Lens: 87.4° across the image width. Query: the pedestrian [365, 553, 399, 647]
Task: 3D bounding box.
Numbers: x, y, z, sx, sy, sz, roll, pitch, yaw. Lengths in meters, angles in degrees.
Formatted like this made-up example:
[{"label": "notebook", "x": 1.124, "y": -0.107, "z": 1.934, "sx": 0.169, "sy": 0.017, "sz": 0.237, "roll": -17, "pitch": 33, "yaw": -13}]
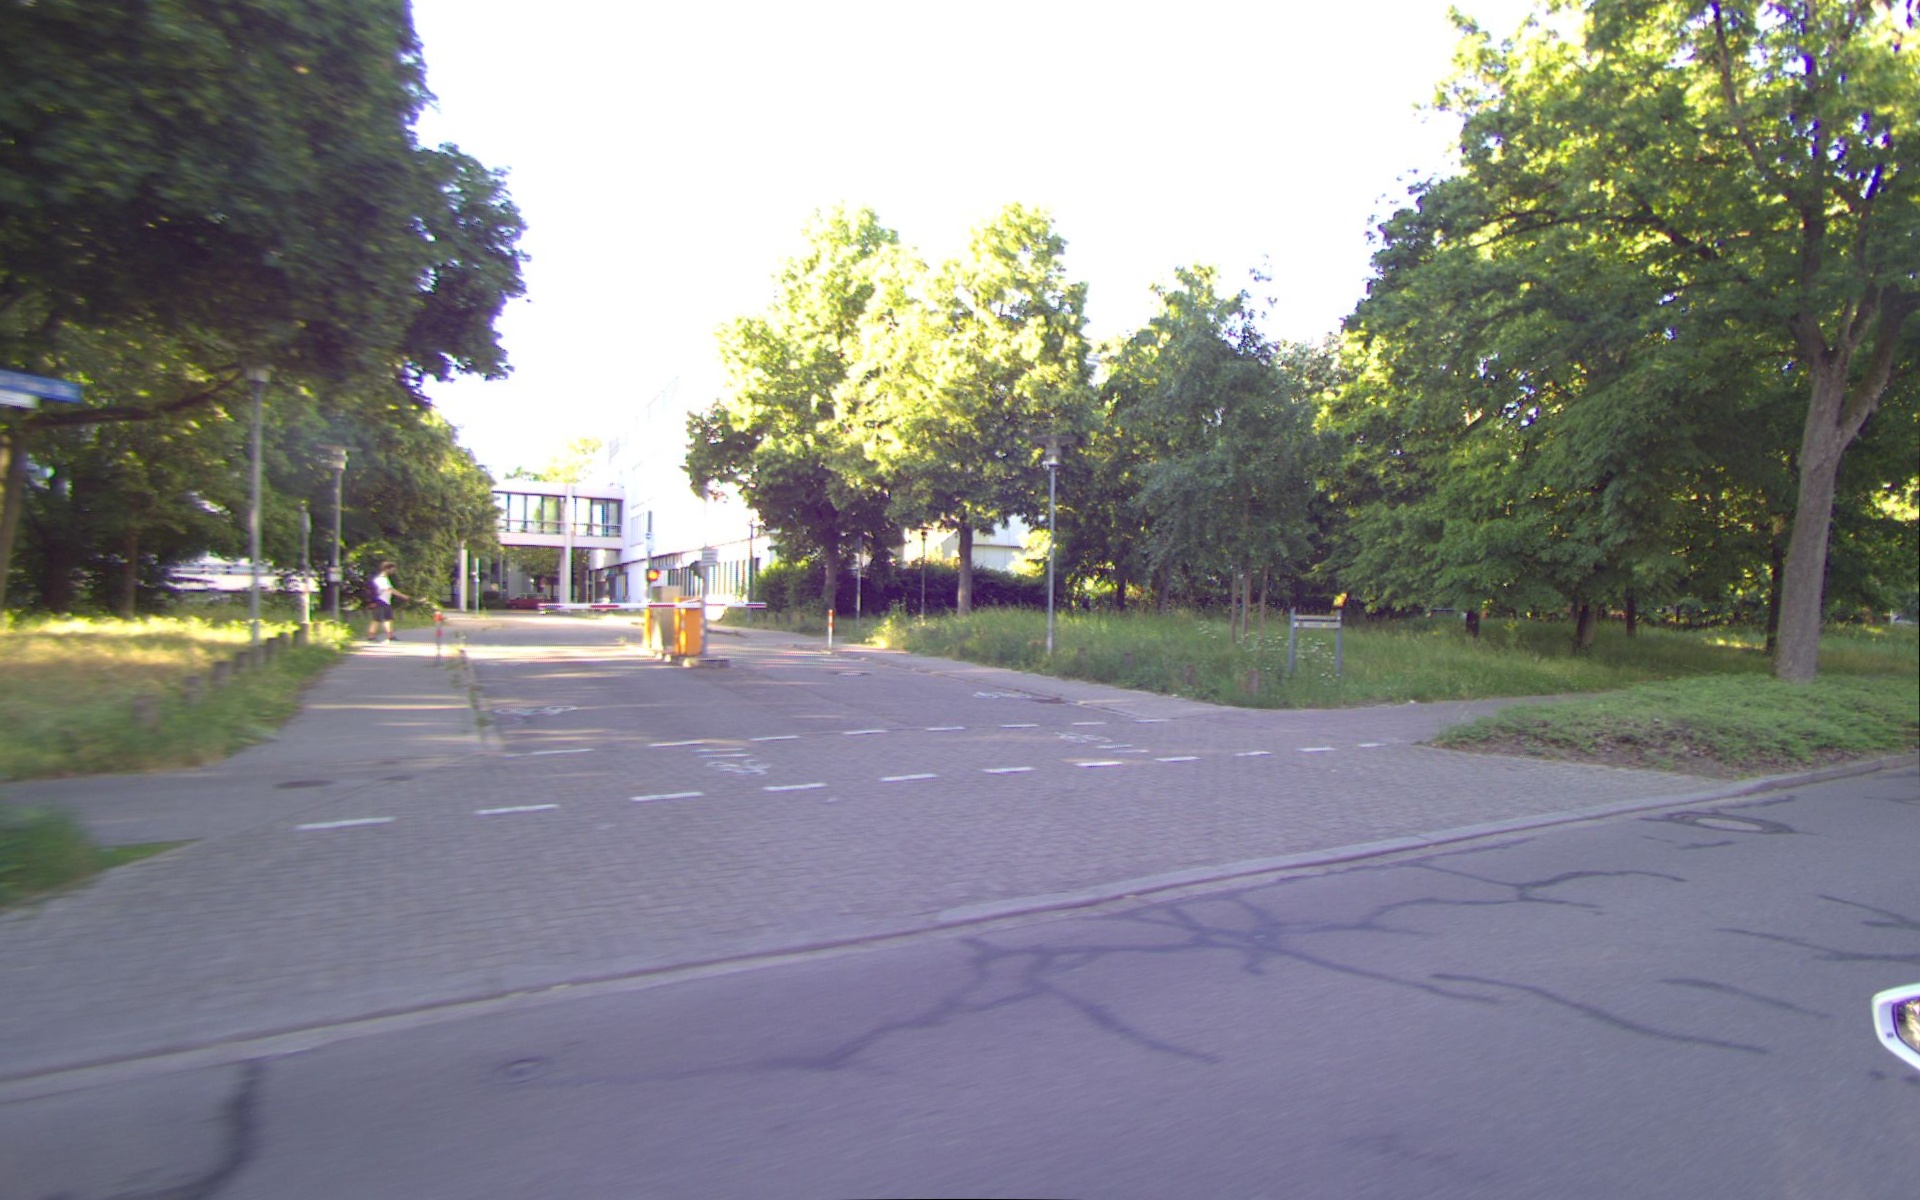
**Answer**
[{"label": "pedestrian", "x": -12.802, "y": -0.001, "z": 22.257, "sx": 0.583, "sy": 2.040, "sz": 0.753, "roll": 1, "pitch": 1, "yaw": -28}]
